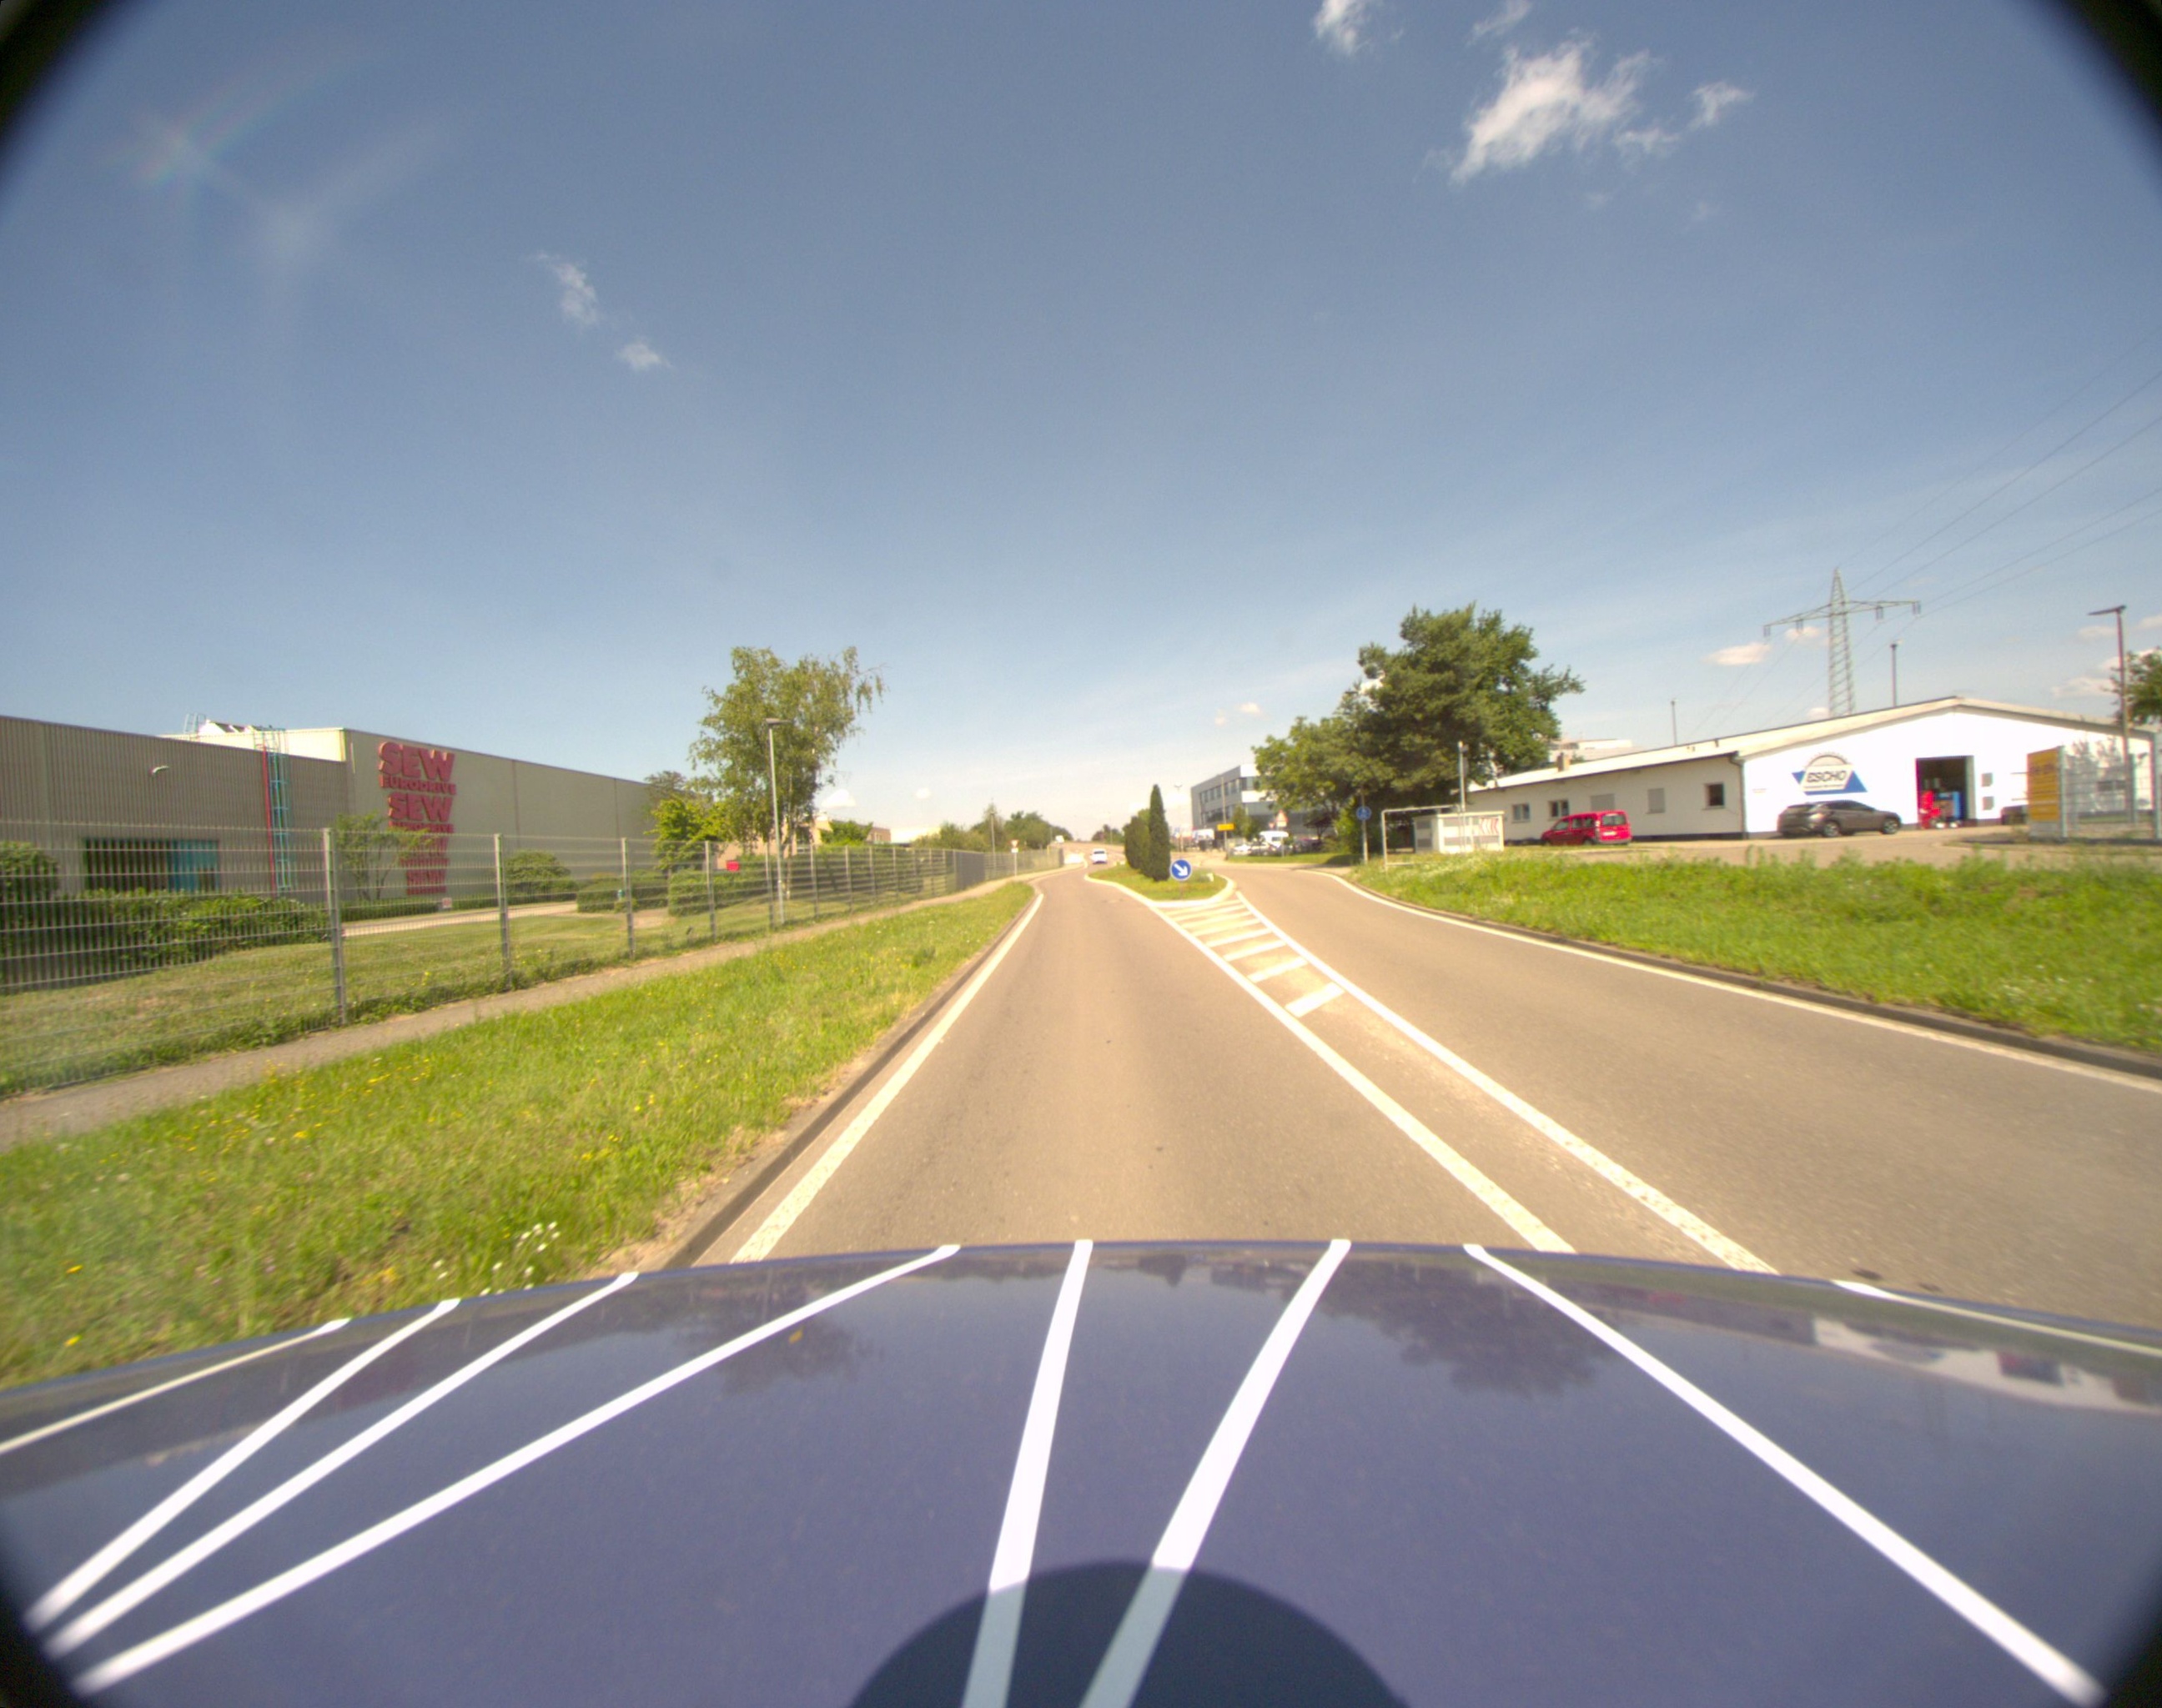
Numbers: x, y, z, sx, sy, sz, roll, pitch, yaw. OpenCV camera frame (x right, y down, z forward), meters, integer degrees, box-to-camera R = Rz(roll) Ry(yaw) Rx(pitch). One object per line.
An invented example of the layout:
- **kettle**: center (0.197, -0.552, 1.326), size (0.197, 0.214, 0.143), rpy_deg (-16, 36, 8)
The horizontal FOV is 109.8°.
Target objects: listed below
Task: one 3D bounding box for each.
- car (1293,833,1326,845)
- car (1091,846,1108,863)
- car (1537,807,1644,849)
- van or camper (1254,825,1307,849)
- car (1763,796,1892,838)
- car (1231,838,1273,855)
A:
- **car**: center (30.167, -1.972, 100.332), size (3.733, 1.313, 1.904), rpy_deg (-3, 1, 32)
- **car**: center (2.291, 0.040, 95.783), size (1.998, 1.904, 3.999), rpy_deg (-3, 1, 0)
- **car**: center (23.895, -1.182, 35.865), size (1.999, 1.734, 4.227), rpy_deg (-3, 1, -3)
- **van or camper**: center (23.624, -1.970, 90.014), size (5.575, 2.483, 2.081), rpy_deg (-3, 1, 26)
- **car**: center (32.962, -1.602, 33.602), size (3.999, 1.516, 1.935), rpy_deg (-4, 0, -7)
- **car**: center (17.774, -0.757, 79.076), size (3.995, 1.510, 2.000), rpy_deg (-3, 1, 5)
